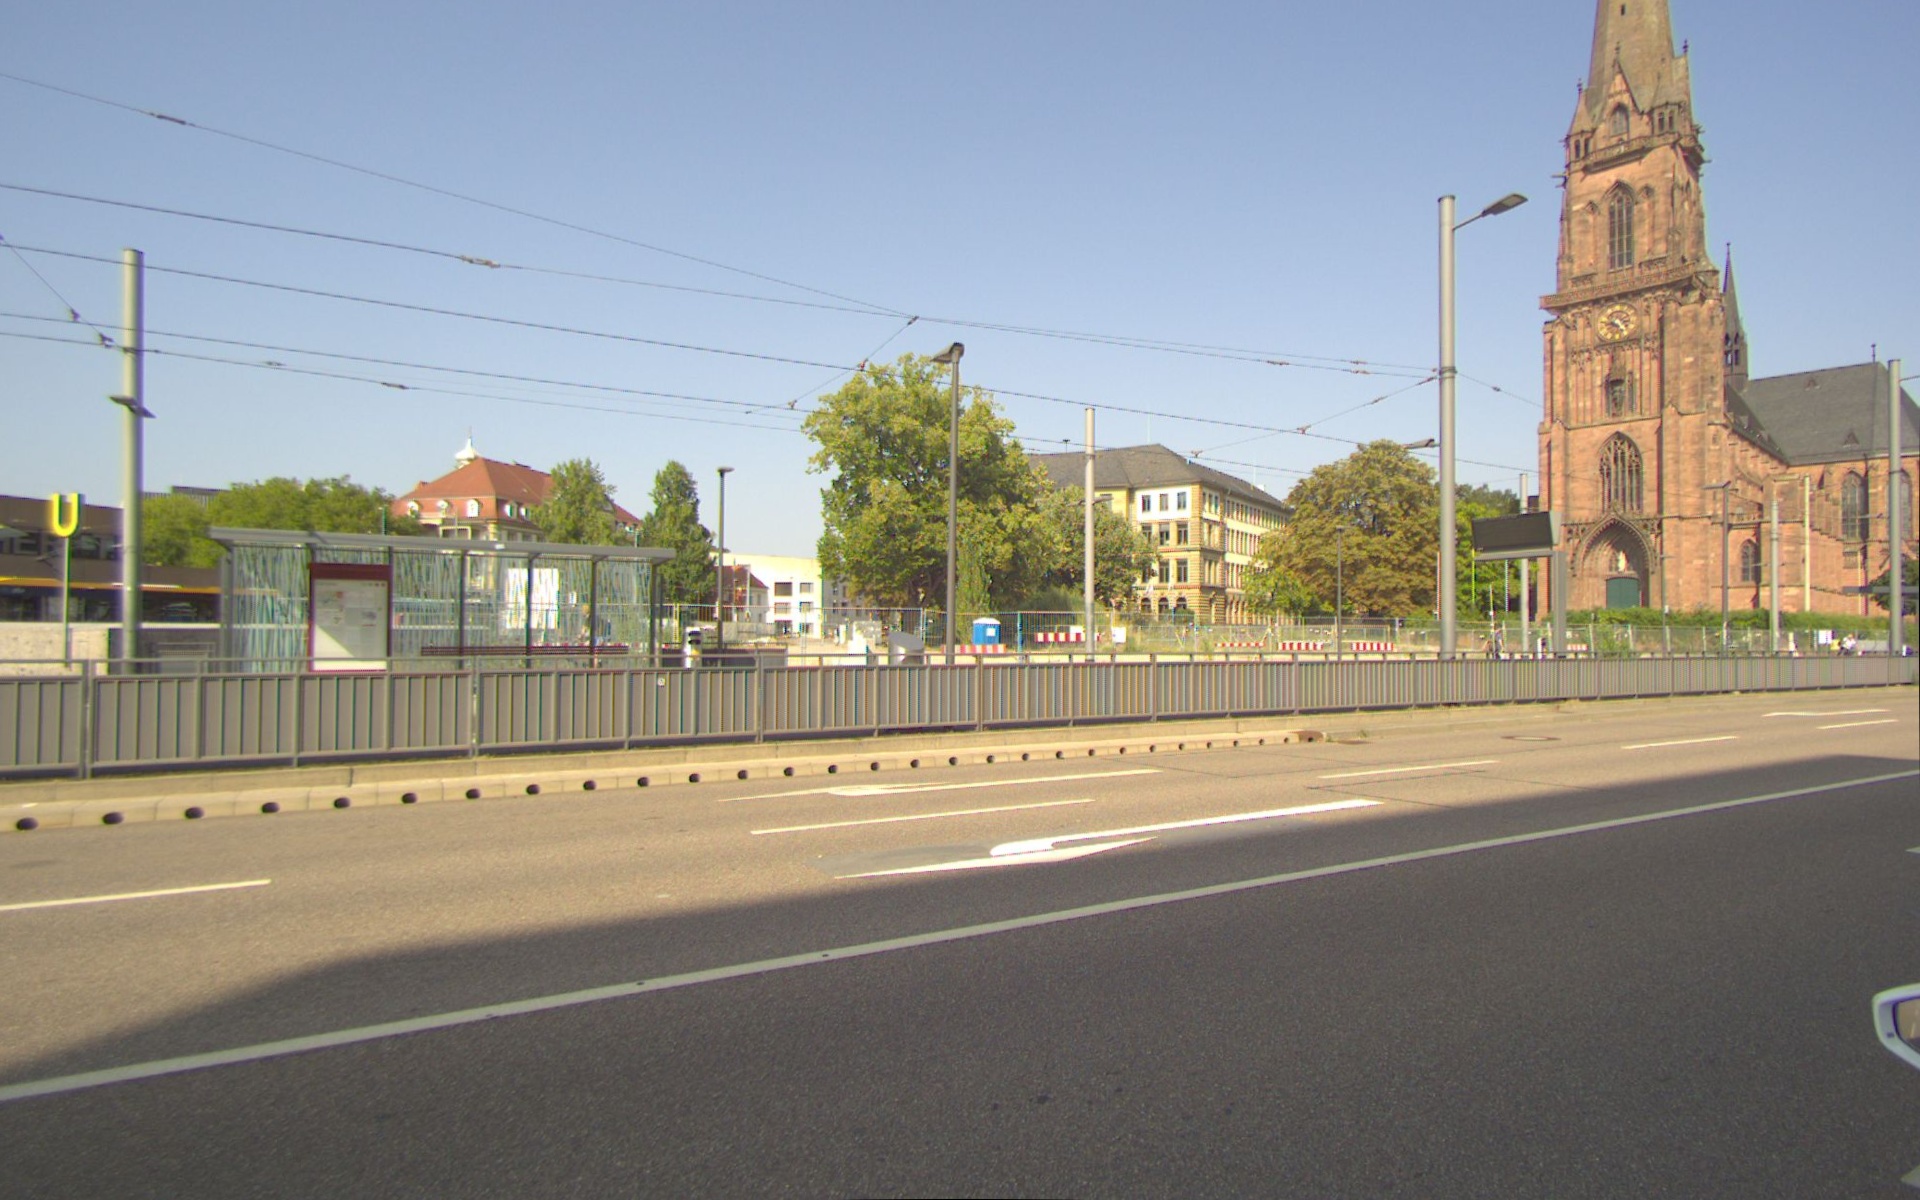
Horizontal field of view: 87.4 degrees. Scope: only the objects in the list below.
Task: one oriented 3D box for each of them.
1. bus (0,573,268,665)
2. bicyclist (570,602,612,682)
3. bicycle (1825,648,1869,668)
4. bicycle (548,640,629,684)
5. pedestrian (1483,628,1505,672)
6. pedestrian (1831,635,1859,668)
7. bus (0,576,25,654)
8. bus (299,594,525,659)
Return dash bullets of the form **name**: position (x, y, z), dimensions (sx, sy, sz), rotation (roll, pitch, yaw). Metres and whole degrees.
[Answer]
- **bus**: position (-34.291, 0.796, 39.223), dimensions (3.160, 3.220, 13.326), rotation (0, -2, 13)
- **bicyclist**: position (-8.318, 0.952, 22.648), dimensions (0.809, 1.770, 0.484), rotation (1, -2, -29)
- **bicycle**: position (45.572, 2.974, 51.615), dimensions (0.471, 0.991, 1.760), rotation (1, -2, -13)
- **bicycle**: position (-8.387, 1.391, 22.697), dimensions (1.675, 0.966, 0.349), rotation (1, -2, -30)
- **pedestrian**: position (21.125, 1.966, 39.742), dimensions (0.657, 1.723, 0.515), rotation (1, -2, -31)
- **pedestrian**: position (45.555, 2.632, 51.714), dimensions (0.592, 1.701, 0.917), rotation (1, -2, -13)
- **bus**: position (-45.241, 0.477, 39.109), dimensions (3.160, 3.464, 13.325), rotation (0, -2, 14)
- **bus**: position (-30.092, 1.534, 56.432), dimensions (3.159, 3.220, 13.327), rotation (0, -2, 12)
